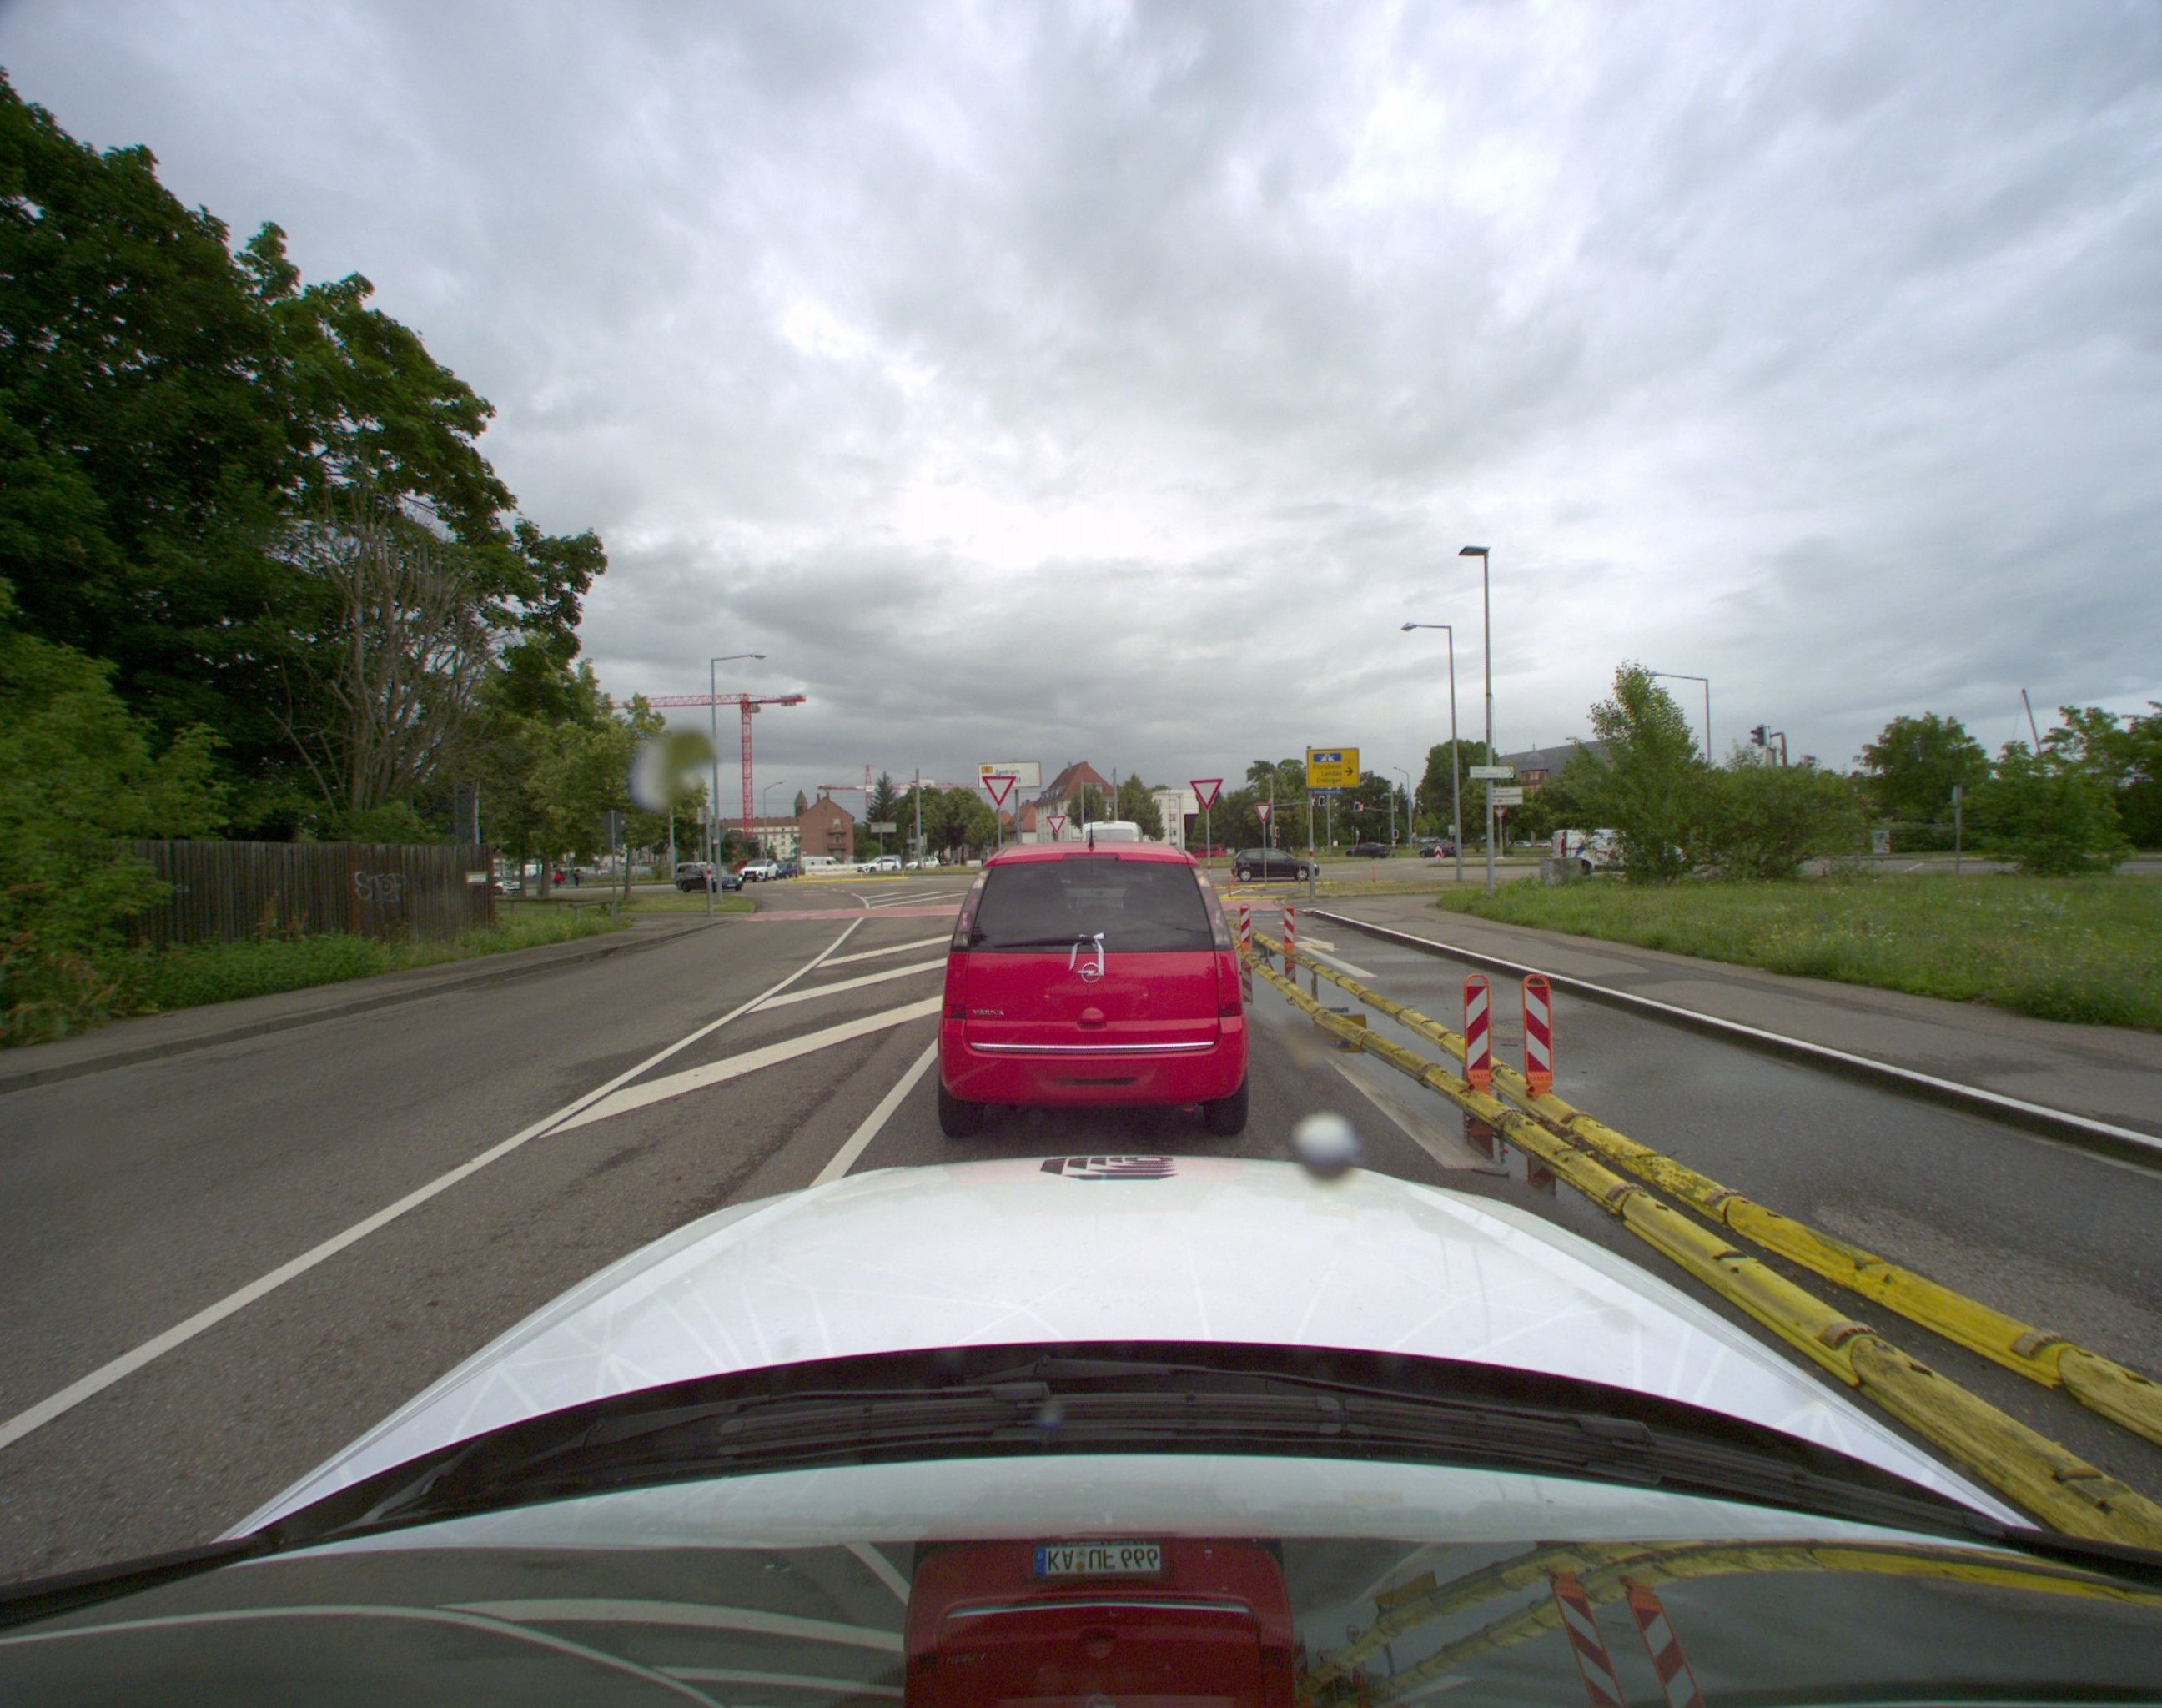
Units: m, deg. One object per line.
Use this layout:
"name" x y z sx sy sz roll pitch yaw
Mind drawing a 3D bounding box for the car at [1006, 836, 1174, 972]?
"car" 0.187 0.609 12.318 2.052 1.648 4.609 -1 0 2

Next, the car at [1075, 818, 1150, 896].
"car" 1.230 0.098 29.101 2.183 2.540 4.973 -1 0 7

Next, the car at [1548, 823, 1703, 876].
"car" 21.785 -0.172 32.837 4.792 1.900 2.109 -2 0 19

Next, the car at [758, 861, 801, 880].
"car" -25.235 1.371 68.343 1.923 1.489 4.002 -2 0 2

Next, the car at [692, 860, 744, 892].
"car" -20.754 1.223 46.466 2.008 1.684 3.958 -2 0 -34

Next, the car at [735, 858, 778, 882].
"car" -24.570 1.194 61.854 1.928 1.684 4.180 -2 0 -6

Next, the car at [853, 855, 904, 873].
"car" -20.152 1.007 81.257 1.974 1.635 4.705 -2 0 37

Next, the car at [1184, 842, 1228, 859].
"car" 15.496 -0.383 101.049 4.826 1.917 2.129 -2 0 36

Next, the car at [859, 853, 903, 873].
"car" -22.530 1.030 91.810 4.490 2.013 1.981 -2 0 -29

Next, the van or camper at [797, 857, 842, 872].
"van or camper" -39.423 1.624 122.764 6.135 2.013 2.007 -2 0 12

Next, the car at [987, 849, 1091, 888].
"car" -1.897 0.641 37.635 4.400 1.602 2.104 -2 0 9

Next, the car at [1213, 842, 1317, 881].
"car" 8.270 0.327 36.788 4.396 1.602 2.106 -2 0 11

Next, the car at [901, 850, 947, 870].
"car" -16.518 0.604 85.748 1.974 2.013 4.509 -2 0 37

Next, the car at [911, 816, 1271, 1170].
"car" 0.101 0.646 5.615 1.667 1.640 3.629 -1 0 2
